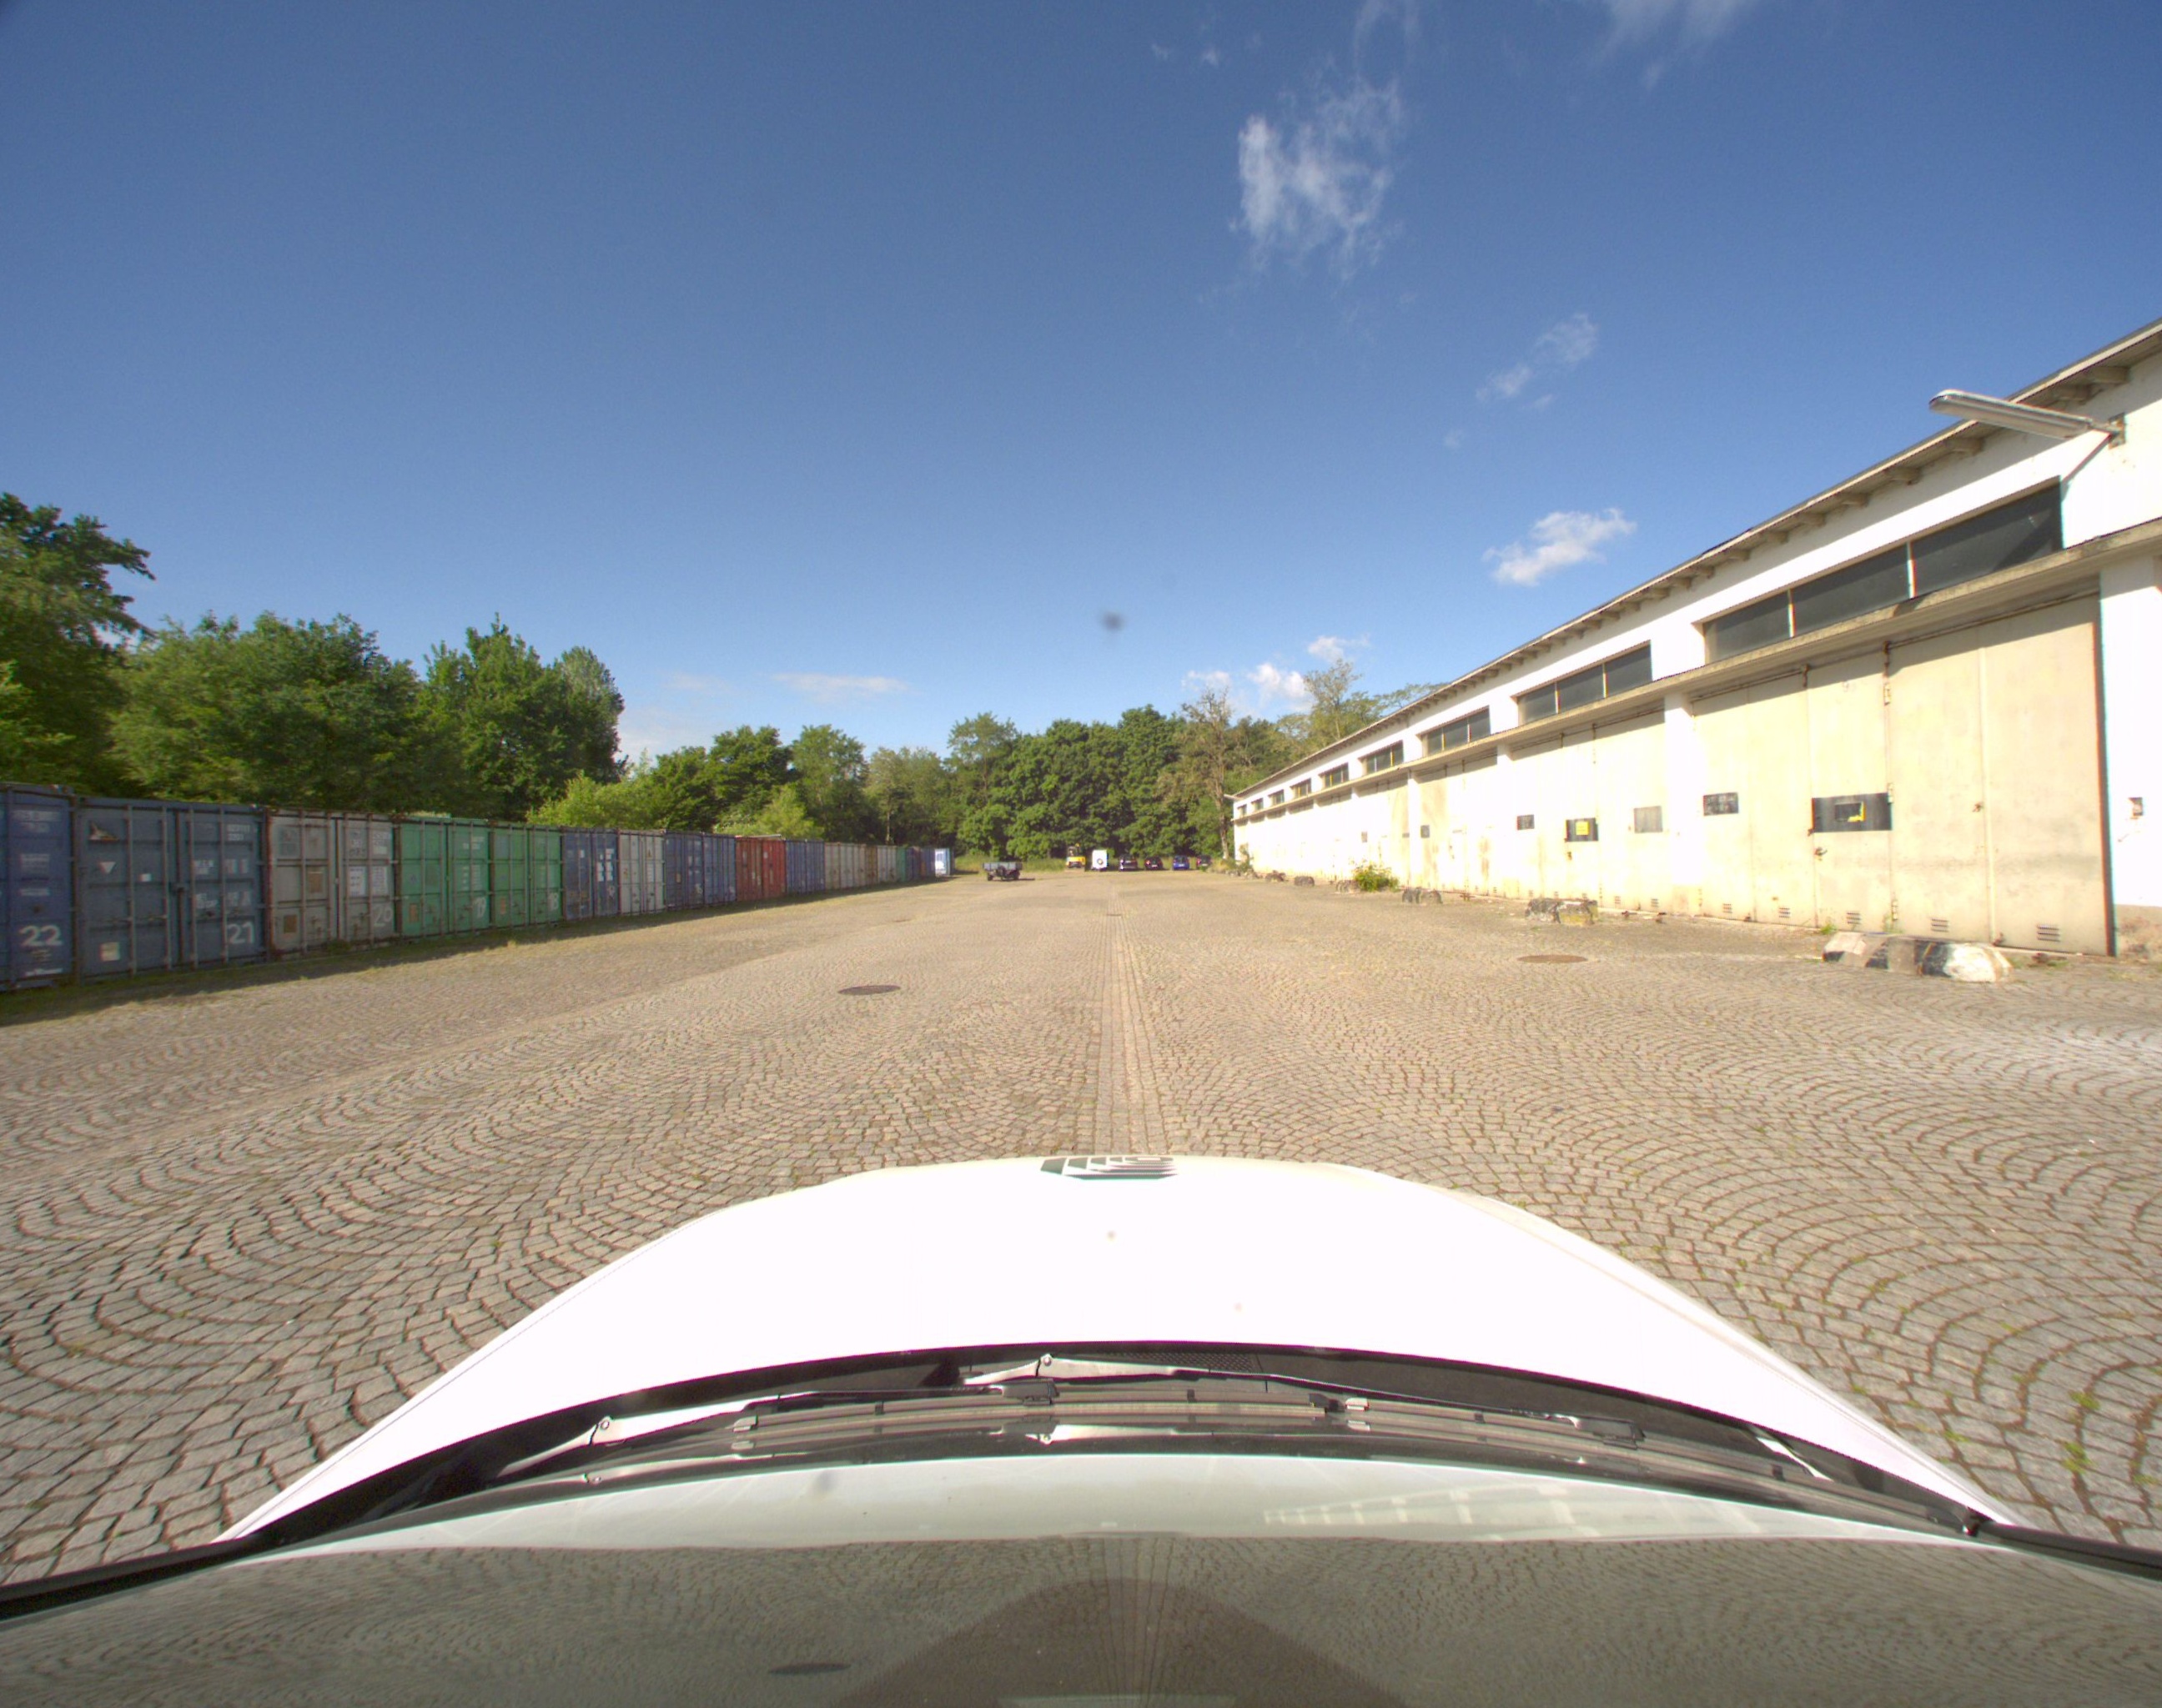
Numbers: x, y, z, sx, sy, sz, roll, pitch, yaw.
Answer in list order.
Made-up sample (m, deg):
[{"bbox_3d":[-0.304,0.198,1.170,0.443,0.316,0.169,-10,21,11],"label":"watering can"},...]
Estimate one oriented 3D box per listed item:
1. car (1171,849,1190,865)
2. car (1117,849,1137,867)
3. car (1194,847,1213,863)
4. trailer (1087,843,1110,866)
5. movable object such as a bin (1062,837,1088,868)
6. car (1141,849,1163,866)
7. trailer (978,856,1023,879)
[{"bbox_3d":[9.695,0.250,79.458,1.735,1.436,4.192,-1,1,7],"label":"car"},{"bbox_3d":[4.447,0.392,79.270,1.857,1.589,4.298,-1,1,2],"label":"car"},{"bbox_3d":[12.184,0.092,80.810,1.734,1.436,4.194,-1,1,9],"label":"car"},{"bbox_3d":[1.821,0.045,81.707,2.185,2.094,5.754,-1,1,2],"label":"trailer"},{"bbox_3d":[-0.543,-0.204,82.355,2.297,2.896,5.756,-1,1,3],"label":"movable object such as a bin"},{"bbox_3d":[6.940,0.294,79.580,1.857,1.470,4.298,-1,1,2],"label":"car"},{"bbox_3d":[-6.038,0.967,61.780,2.696,1.465,6.248,-1,1,0],"label":"trailer"}]
